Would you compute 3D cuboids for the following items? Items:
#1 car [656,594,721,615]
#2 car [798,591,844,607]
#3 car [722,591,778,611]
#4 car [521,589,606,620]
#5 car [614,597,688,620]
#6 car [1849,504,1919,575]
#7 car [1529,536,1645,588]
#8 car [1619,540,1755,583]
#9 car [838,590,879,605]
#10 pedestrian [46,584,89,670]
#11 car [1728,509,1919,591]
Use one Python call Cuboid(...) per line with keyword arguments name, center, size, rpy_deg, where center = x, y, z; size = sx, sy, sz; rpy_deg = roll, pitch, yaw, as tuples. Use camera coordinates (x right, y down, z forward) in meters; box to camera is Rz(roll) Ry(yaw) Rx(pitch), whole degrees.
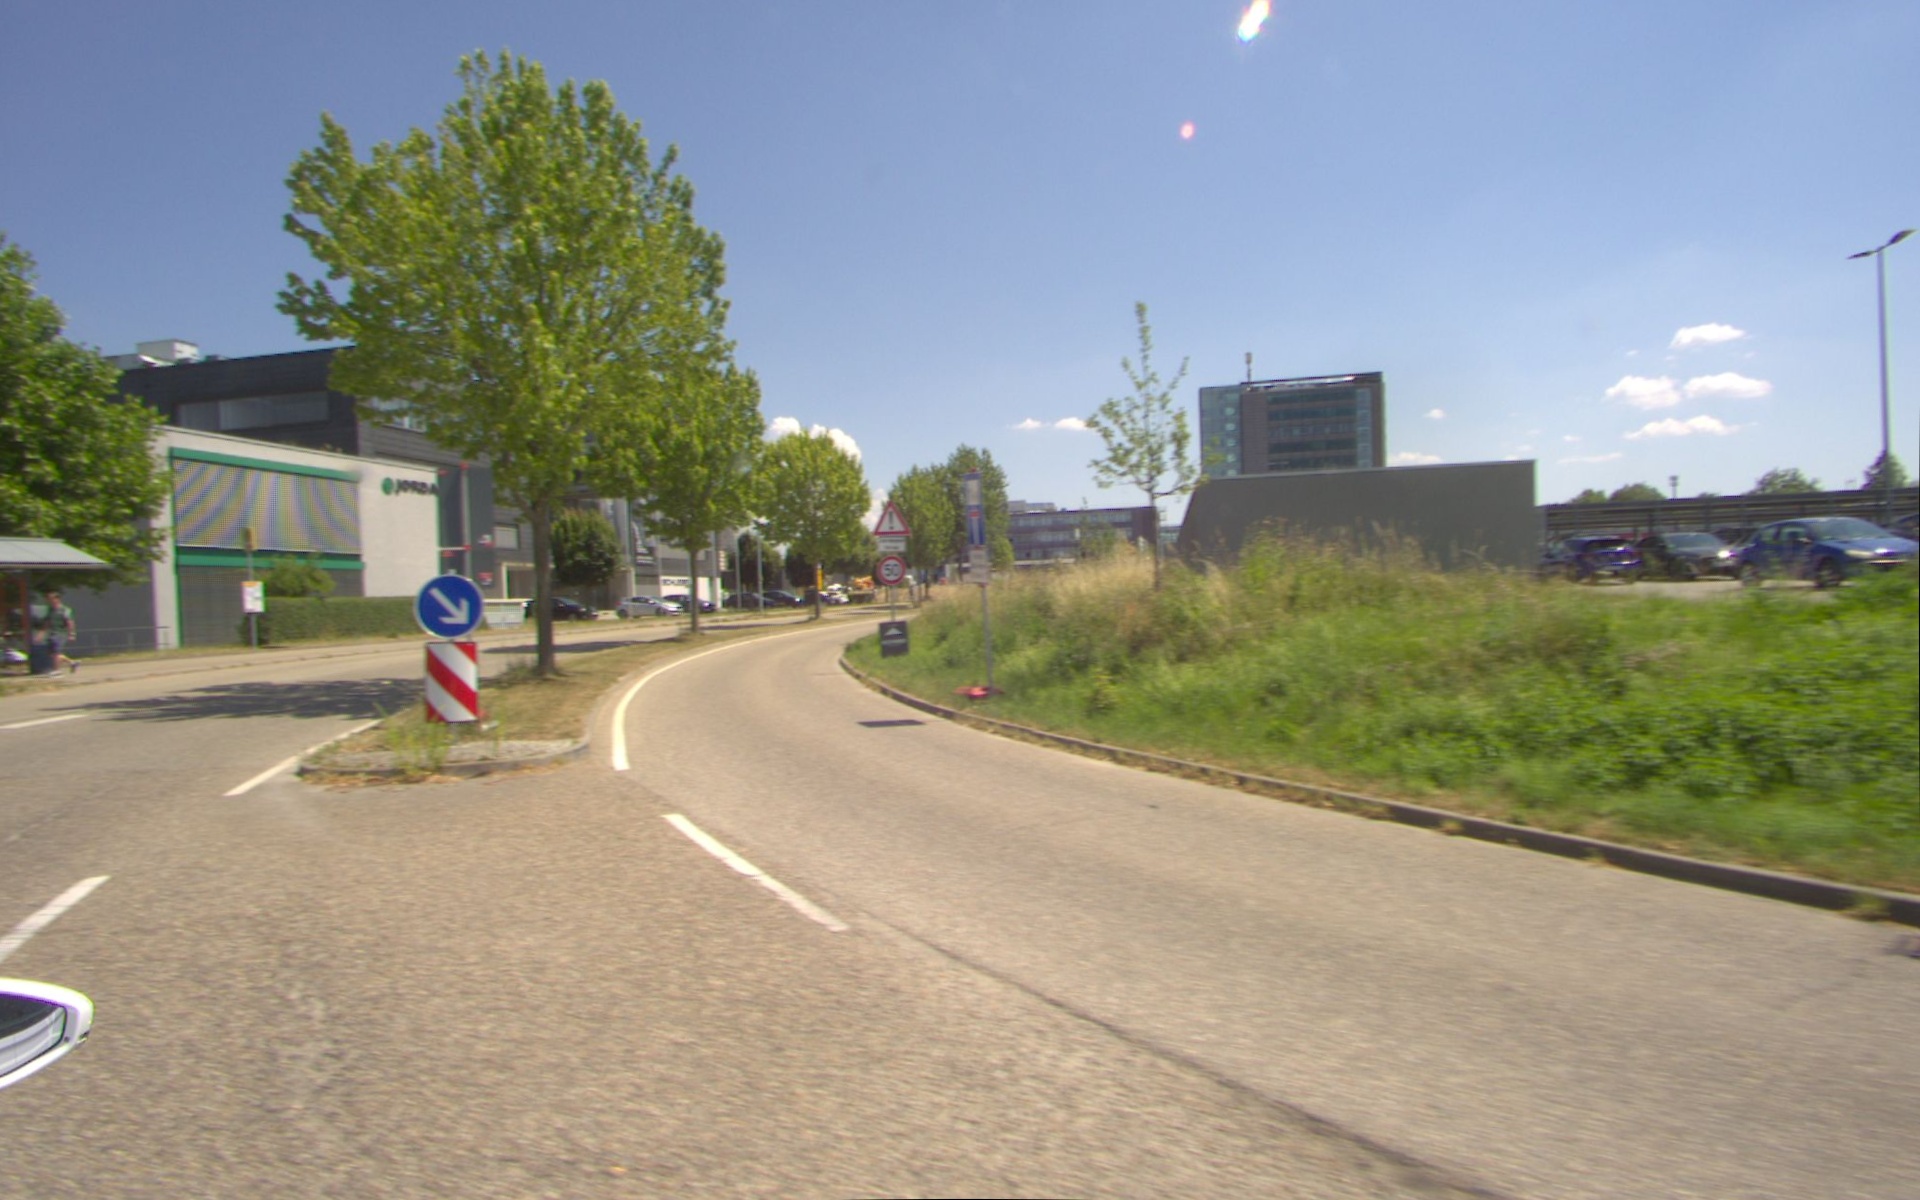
Cuboid(name="car", center=(-18.368, 0.313, 67.796), size=(3.819, 1.198, 1.703), rpy_deg=(-3, 2, 12))
Cuboid(name="car", center=(-12.858, -0.126, 92.921), size=(3.819, 1.291, 1.703), rpy_deg=(-3, 2, 12))
Cuboid(name="car", center=(-16.126, 0.050, 76.849), size=(3.819, 1.291, 1.703), rpy_deg=(-3, 2, 12))
Cuboid(name="car", center=(-21.045, 0.240, 53.197), size=(3.845, 1.398, 1.703), rpy_deg=(-3, 2, 12))
Cuboid(name="car", center=(-19.352, 0.528, 62.830), size=(4.197, 1.197, 1.493), rpy_deg=(-3, -1, 12))
Cuboid(name="car", center=(21.148, -1.326, 21.374), size=(1.568, 1.519, 3.635), rpy_deg=(-2, 1, 11))
Cuboid(name="car", center=(19.128, -1.141, 30.716), size=(1.556, 1.429, 3.474), rpy_deg=(-2, 1, 5))
Cuboid(name="car", center=(21.641, -1.118, 29.991), size=(1.539, 1.099, 3.745), rpy_deg=(-4, 1, 5))
Cuboid(name="car", center=(-10.158, -0.258, 100.612), size=(3.772, 1.291, 1.607), rpy_deg=(-3, 2, 12))
Cuboid(name="pedestrian", center=(-17.945, 0.537, 20.133), size=(0.573, 1.691, 0.526), rpy_deg=(-4, -1, 40))
Cuboid(name="car", center=(17.659, -0.968, 20.275), size=(1.621, 1.465, 3.637), rpy_deg=(-2, 1, 5))
